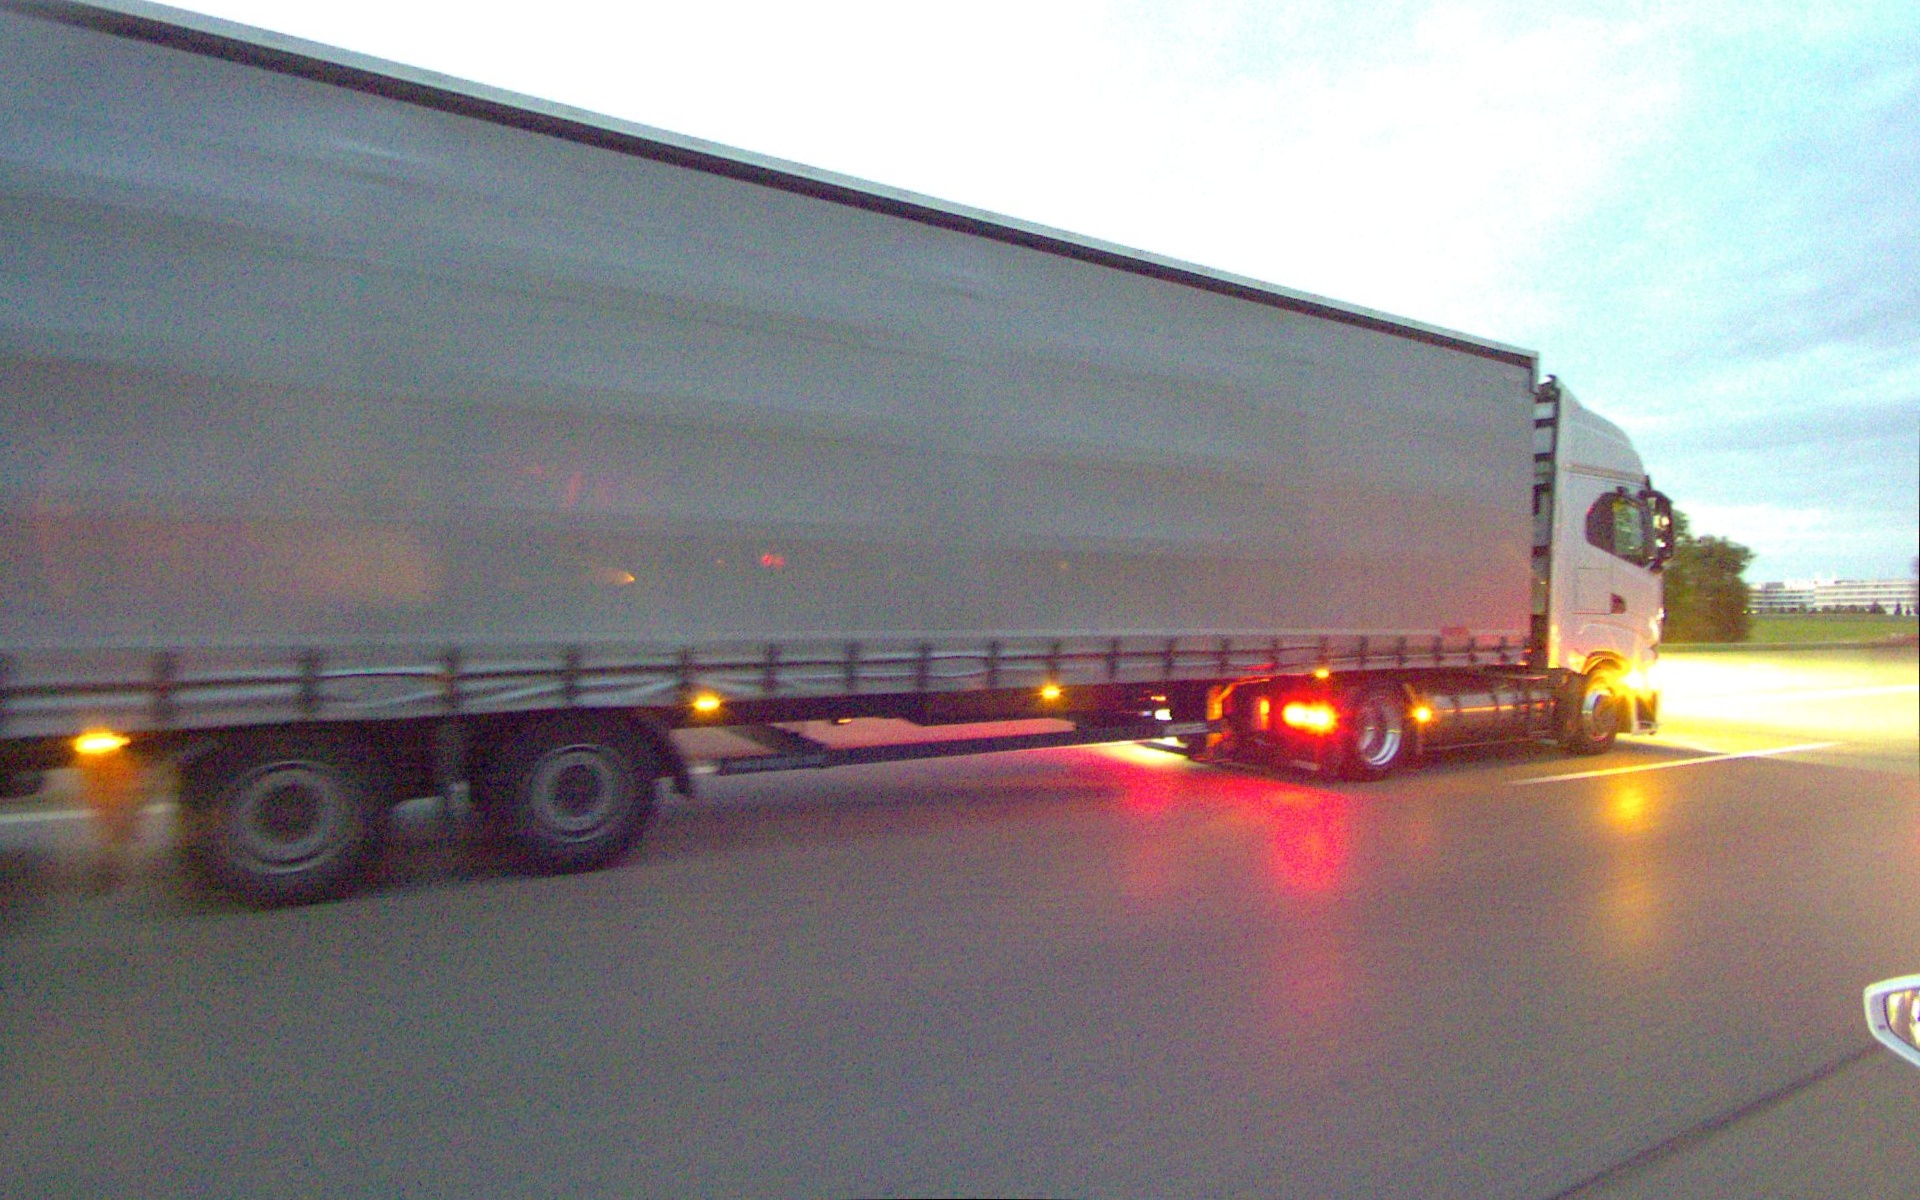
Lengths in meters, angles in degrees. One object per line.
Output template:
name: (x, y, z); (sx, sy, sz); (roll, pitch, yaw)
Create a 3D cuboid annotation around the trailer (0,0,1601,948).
trailer: (-0.701, -0.534, 7.387); (14.352, 4.139, 2.781); (2, -1, -30)

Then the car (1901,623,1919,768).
car: (12.218, 1.062, 10.878); (4.672, 1.491, 1.714); (2, 0, -31)

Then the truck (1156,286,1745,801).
truck: (5.359, -0.354, 10.782); (6.030, 4.146, 2.765); (2, -1, -30)
